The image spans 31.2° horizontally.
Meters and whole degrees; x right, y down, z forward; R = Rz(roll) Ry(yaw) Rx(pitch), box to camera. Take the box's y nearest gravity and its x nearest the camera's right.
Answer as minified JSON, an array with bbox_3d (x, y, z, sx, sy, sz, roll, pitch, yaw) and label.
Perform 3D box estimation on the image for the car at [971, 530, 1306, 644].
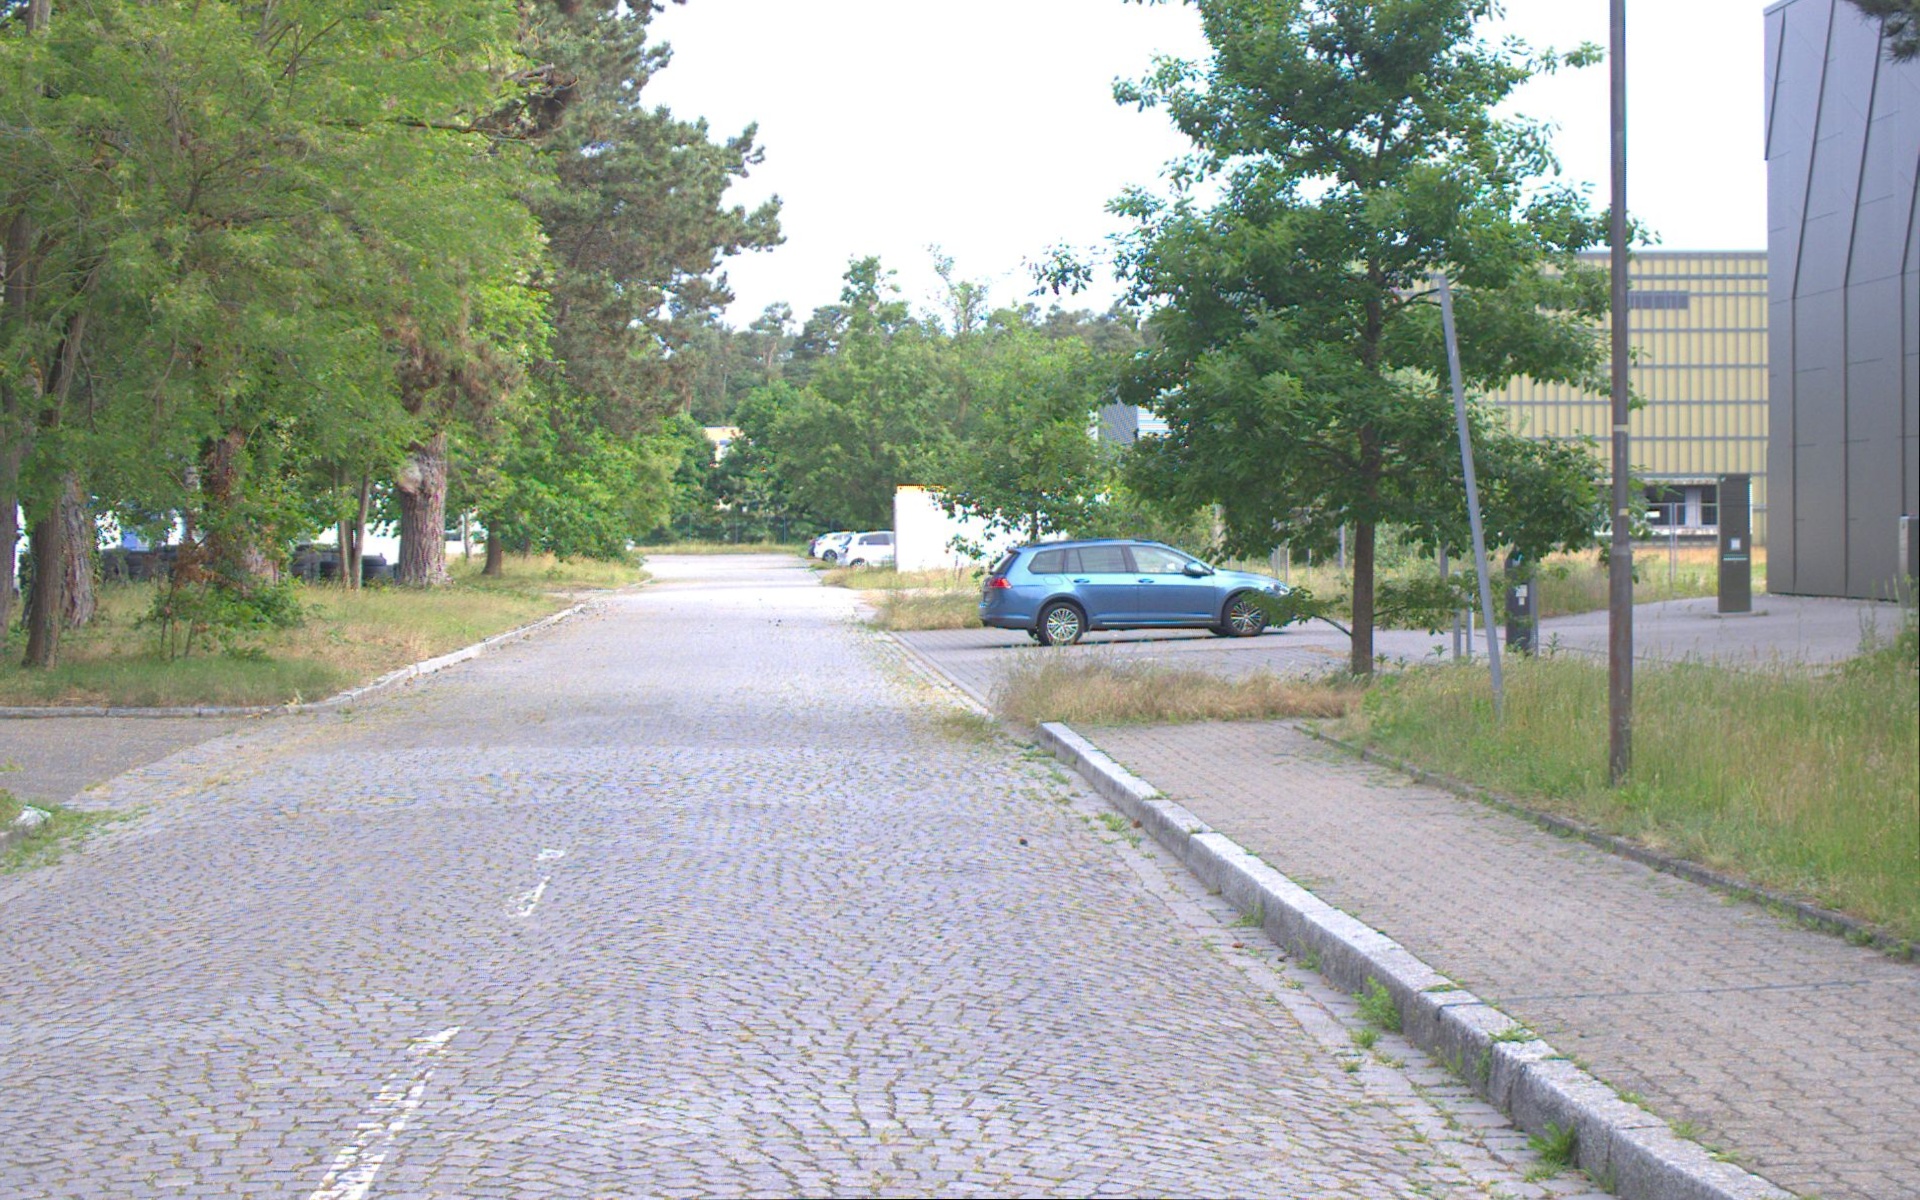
[{"bbox_3d":[2.535,-0.206,49.387,4.521,1.438,1.824,-2,1,-6],"label":"car"}]

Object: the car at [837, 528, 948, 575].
[{"bbox_3d":[-2.425,-1.750,122.773,3.849,1.649,1.687,0,1,-6],"label":"car"}]

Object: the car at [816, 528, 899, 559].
[{"bbox_3d":[-5.046,-2.781,168.848,4.025,1.496,1.548,0,1,-2],"label":"car"}]

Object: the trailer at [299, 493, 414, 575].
[{"bbox_3d":[-23.515,-2.592,134.318,3.158,3.057,8.785,0,1,-2],"label":"trailer"}]
